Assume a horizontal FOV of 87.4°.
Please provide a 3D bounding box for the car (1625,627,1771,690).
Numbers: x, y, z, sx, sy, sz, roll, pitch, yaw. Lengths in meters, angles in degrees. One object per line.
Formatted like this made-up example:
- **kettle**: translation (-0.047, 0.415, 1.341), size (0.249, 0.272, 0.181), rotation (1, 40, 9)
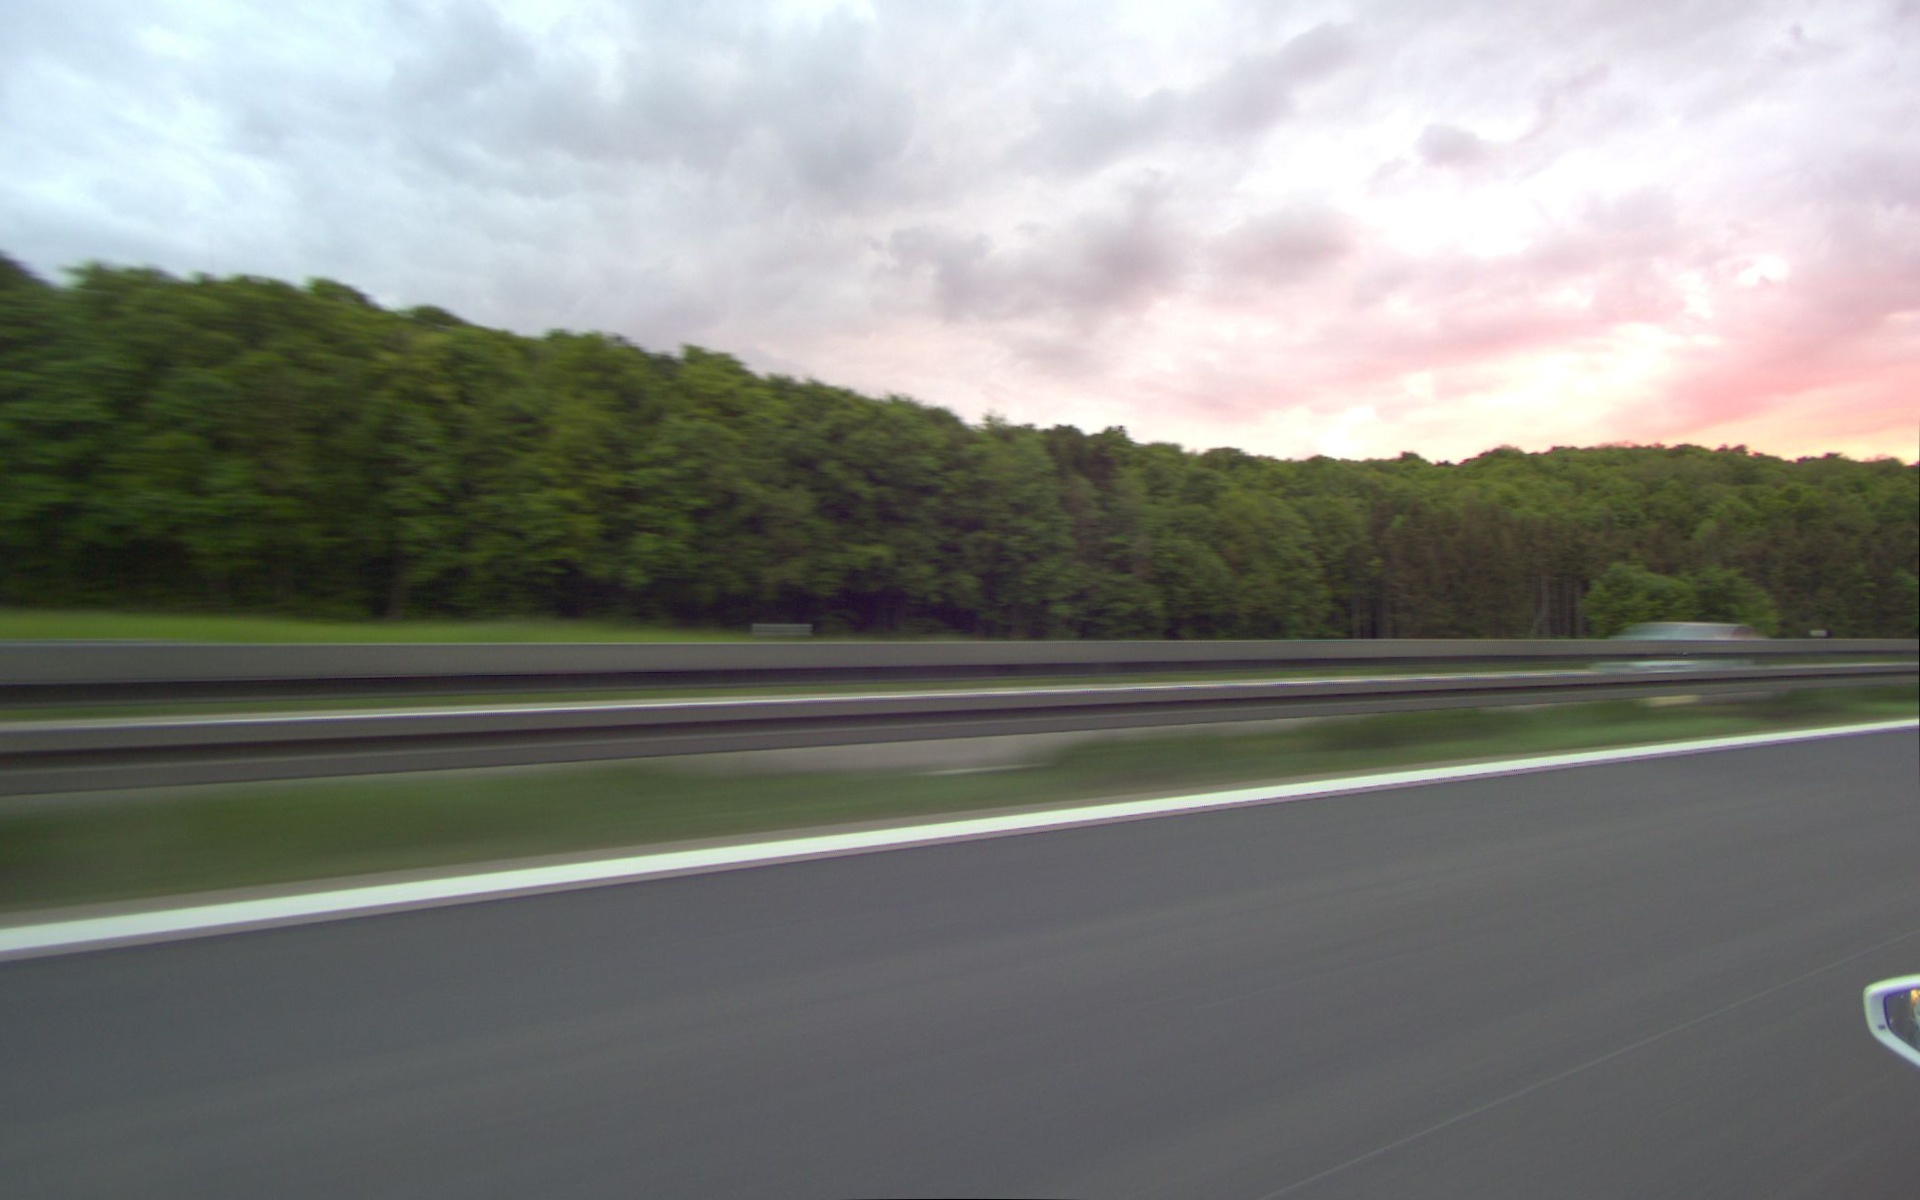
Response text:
- **car**: translation (21.139, 1.625, 28.747), size (4.424, 1.661, 1.745), rotation (1, -2, -30)
